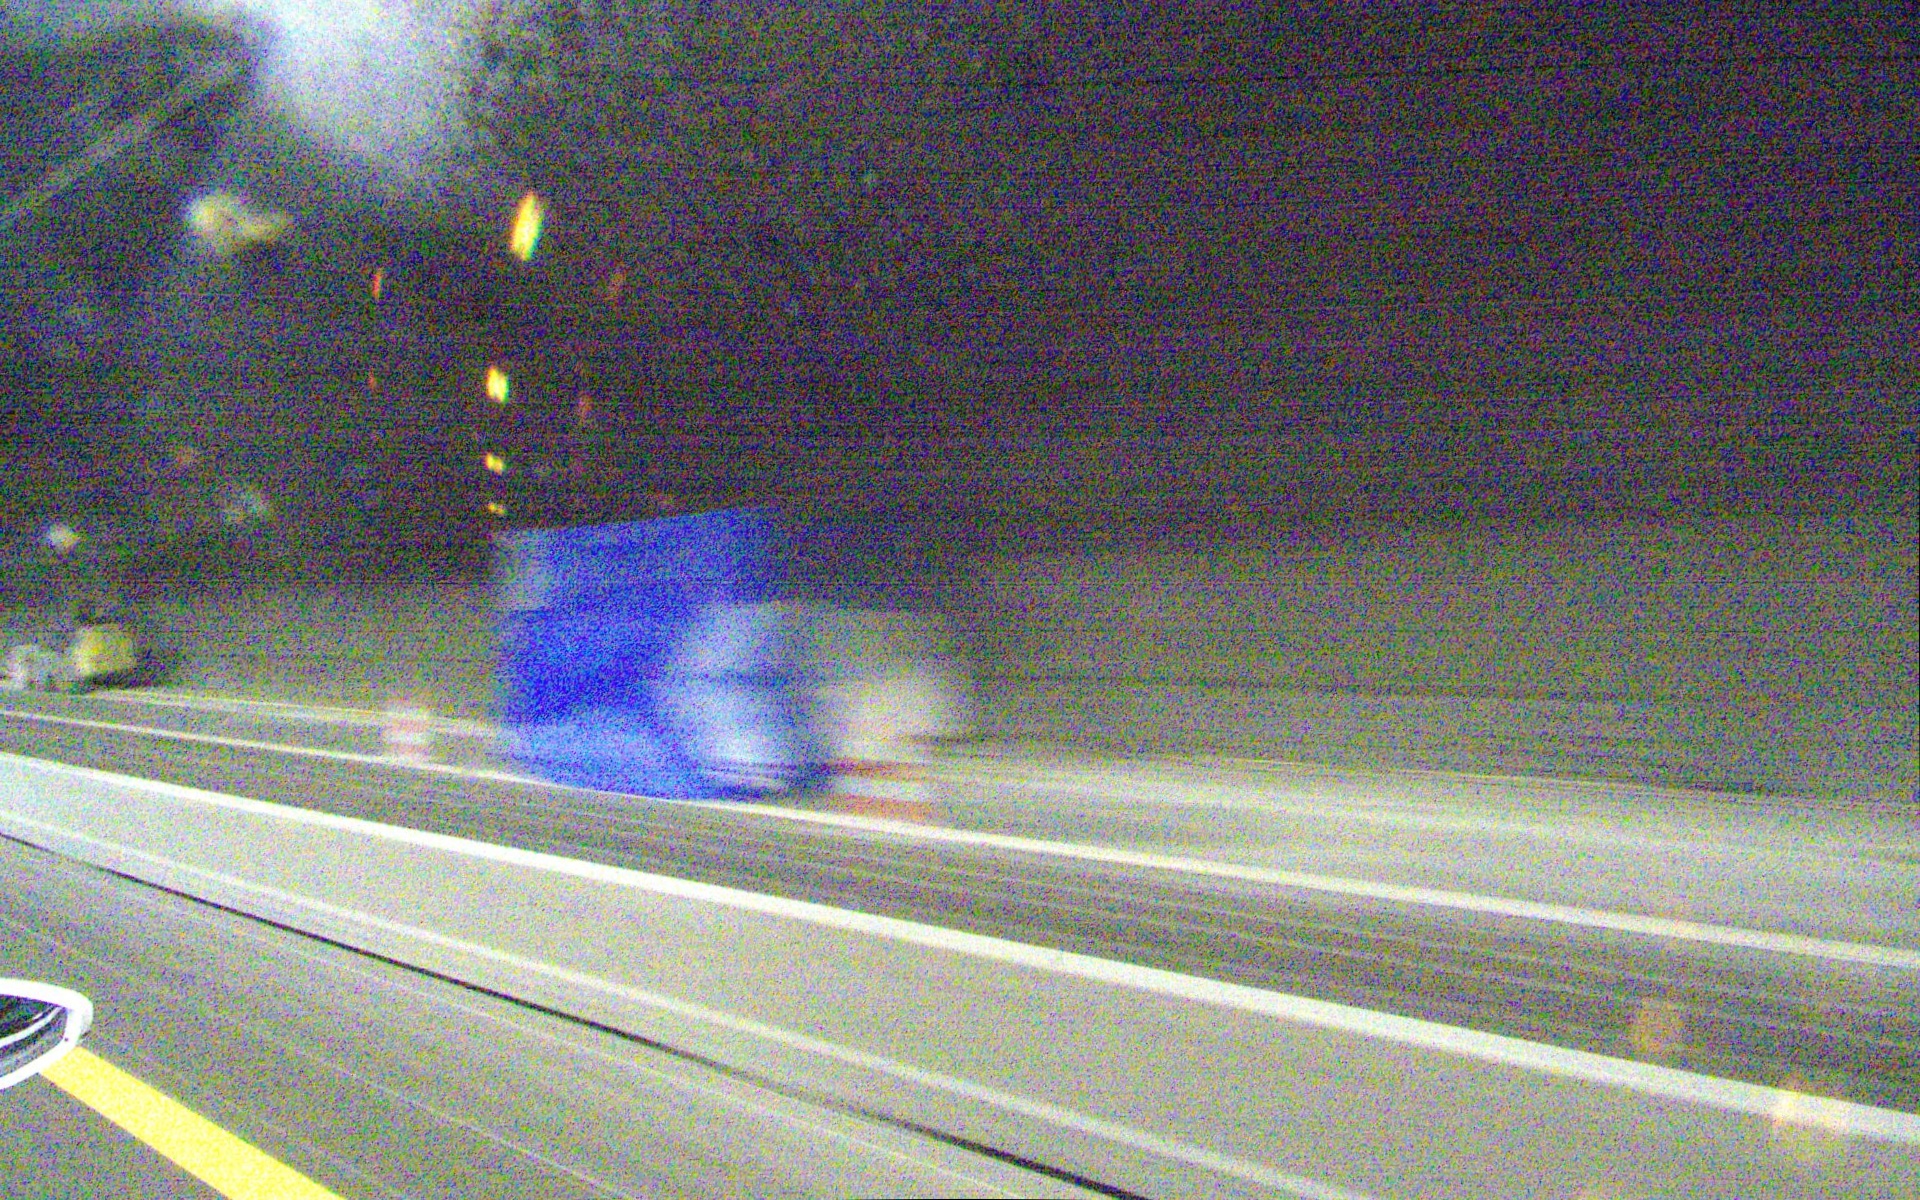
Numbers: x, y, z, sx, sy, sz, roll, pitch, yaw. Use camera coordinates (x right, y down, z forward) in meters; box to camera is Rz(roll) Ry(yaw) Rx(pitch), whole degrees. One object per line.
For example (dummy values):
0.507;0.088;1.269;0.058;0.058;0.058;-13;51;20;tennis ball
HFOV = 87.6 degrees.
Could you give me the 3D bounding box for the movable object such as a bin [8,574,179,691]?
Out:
-19.642;0.709;22.682;3.943;2.413;1.752;-1;2;32;movable object such as a bin
